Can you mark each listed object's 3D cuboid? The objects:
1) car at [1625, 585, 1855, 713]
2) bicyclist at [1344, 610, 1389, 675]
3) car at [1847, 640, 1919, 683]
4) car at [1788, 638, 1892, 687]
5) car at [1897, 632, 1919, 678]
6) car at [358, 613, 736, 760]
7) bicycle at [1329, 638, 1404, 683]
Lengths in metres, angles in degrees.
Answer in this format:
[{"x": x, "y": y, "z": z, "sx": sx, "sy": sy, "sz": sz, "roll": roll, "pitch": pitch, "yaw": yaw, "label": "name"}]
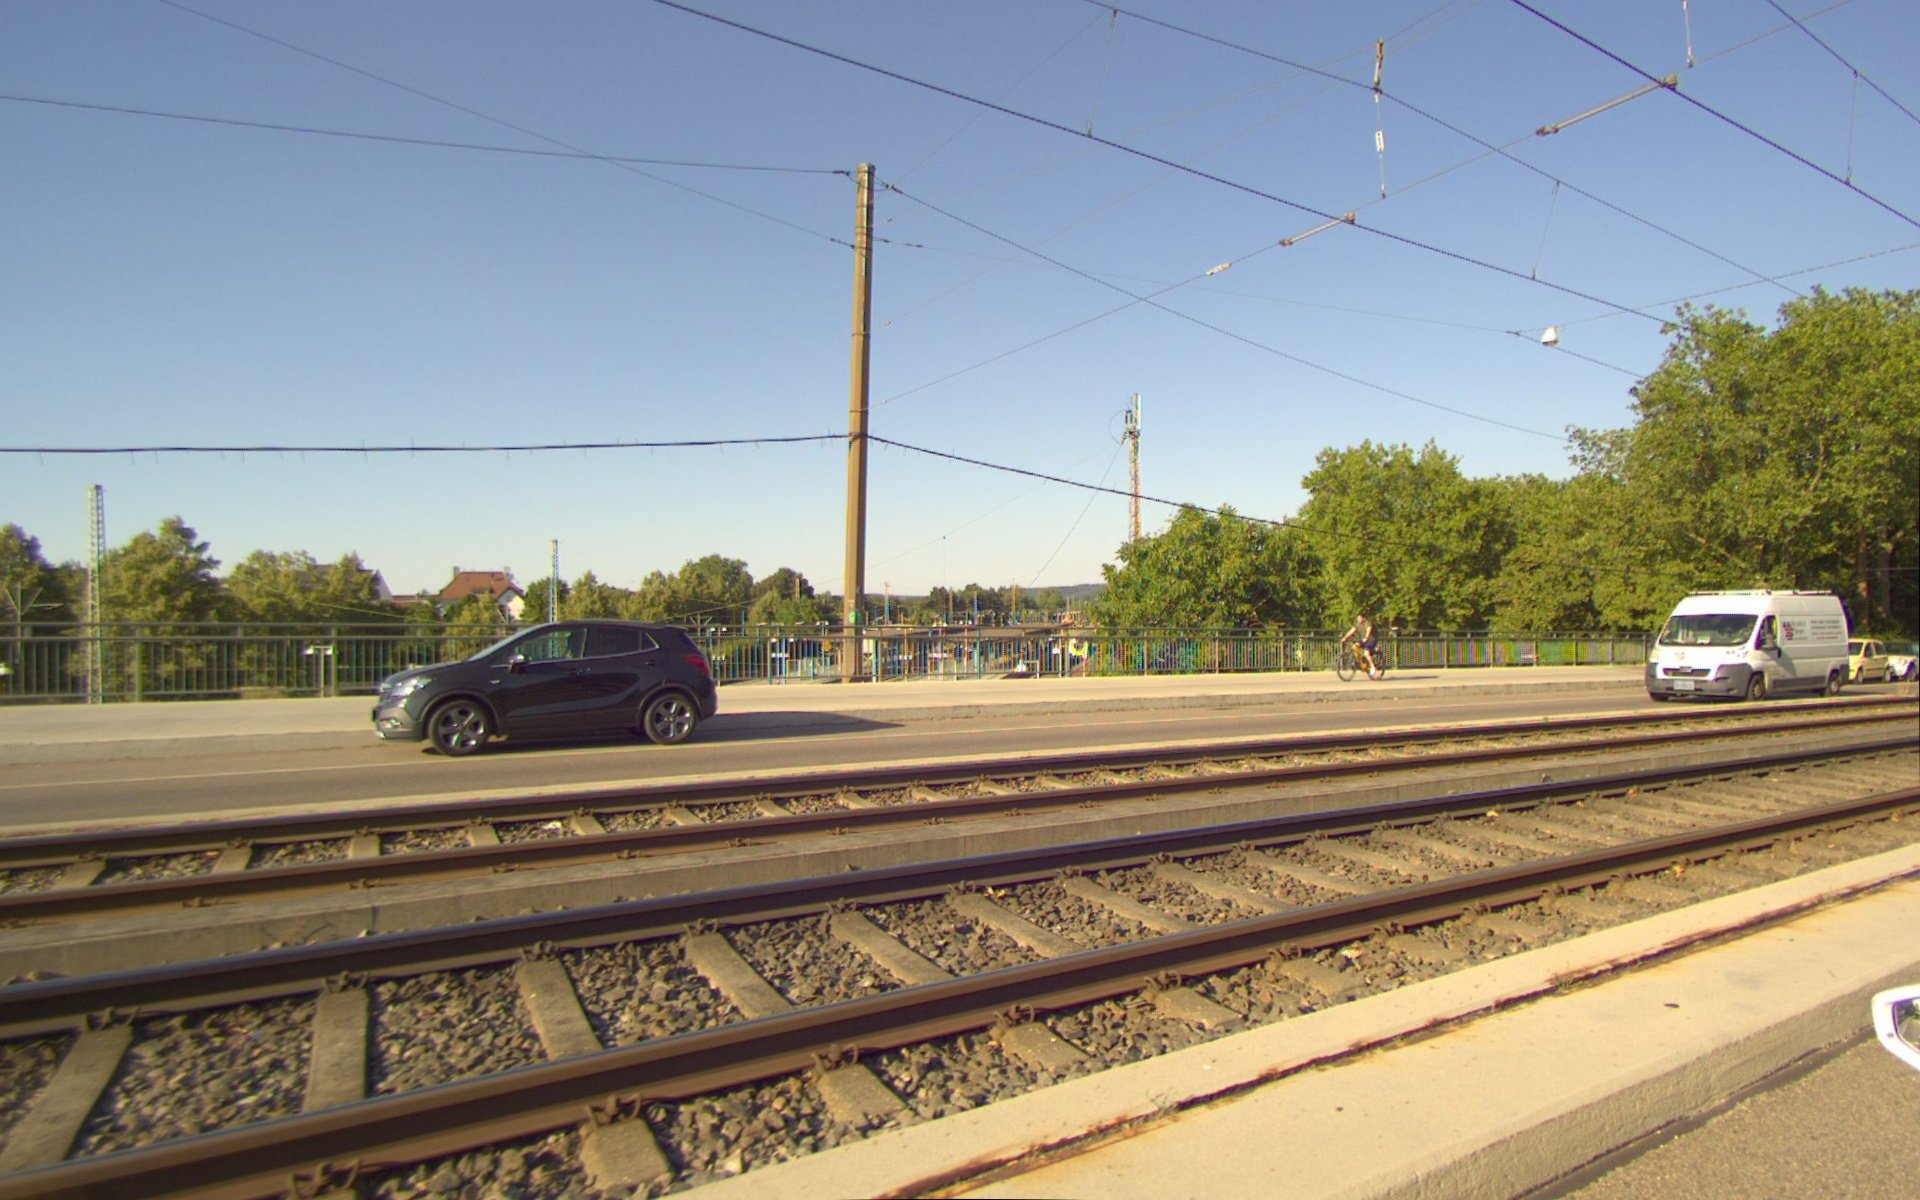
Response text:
[{"x": 18.178, "y": 1.047, "z": 23.320, "sx": 5.969, "sy": 2.628, "sz": 2.076, "roll": 1, "pitch": 1, "yaw": -30, "label": "car"}, {"x": 10.646, "y": 1.089, "z": 26.315, "sx": 0.879, "sy": 1.648, "sz": 0.676, "roll": 1, "pitch": 1, "yaw": -30, "label": "bicyclist"}, {"x": 34.921, "y": 2.259, "z": 37.551, "sx": 3.958, "sy": 1.470, "sz": 1.624, "roll": 1, "pitch": -1, "yaw": -33, "label": "car"}, {"x": 30.421, "y": 2.113, "z": 34.712, "sx": 3.746, "sy": 1.551, "sz": 1.625, "roll": 1, "pitch": -1, "yaw": -31, "label": "car"}, {"x": 39.517, "y": 2.186, "z": 40.226, "sx": 4.630, "sy": 1.777, "sz": 1.733, "roll": 1, "pitch": -1, "yaw": -31, "label": "car"}, {"x": -5.387, "y": 1.054, "z": 13.306, "sx": 4.395, "sy": 1.672, "sz": 1.771, "roll": 1, "pitch": -4, "yaw": -31, "label": "car"}, {"x": 10.669, "y": 1.568, "z": 26.345, "sx": 2.075, "sy": 1.112, "sz": 0.676, "roll": 1, "pitch": 1, "yaw": -30, "label": "bicycle"}]
